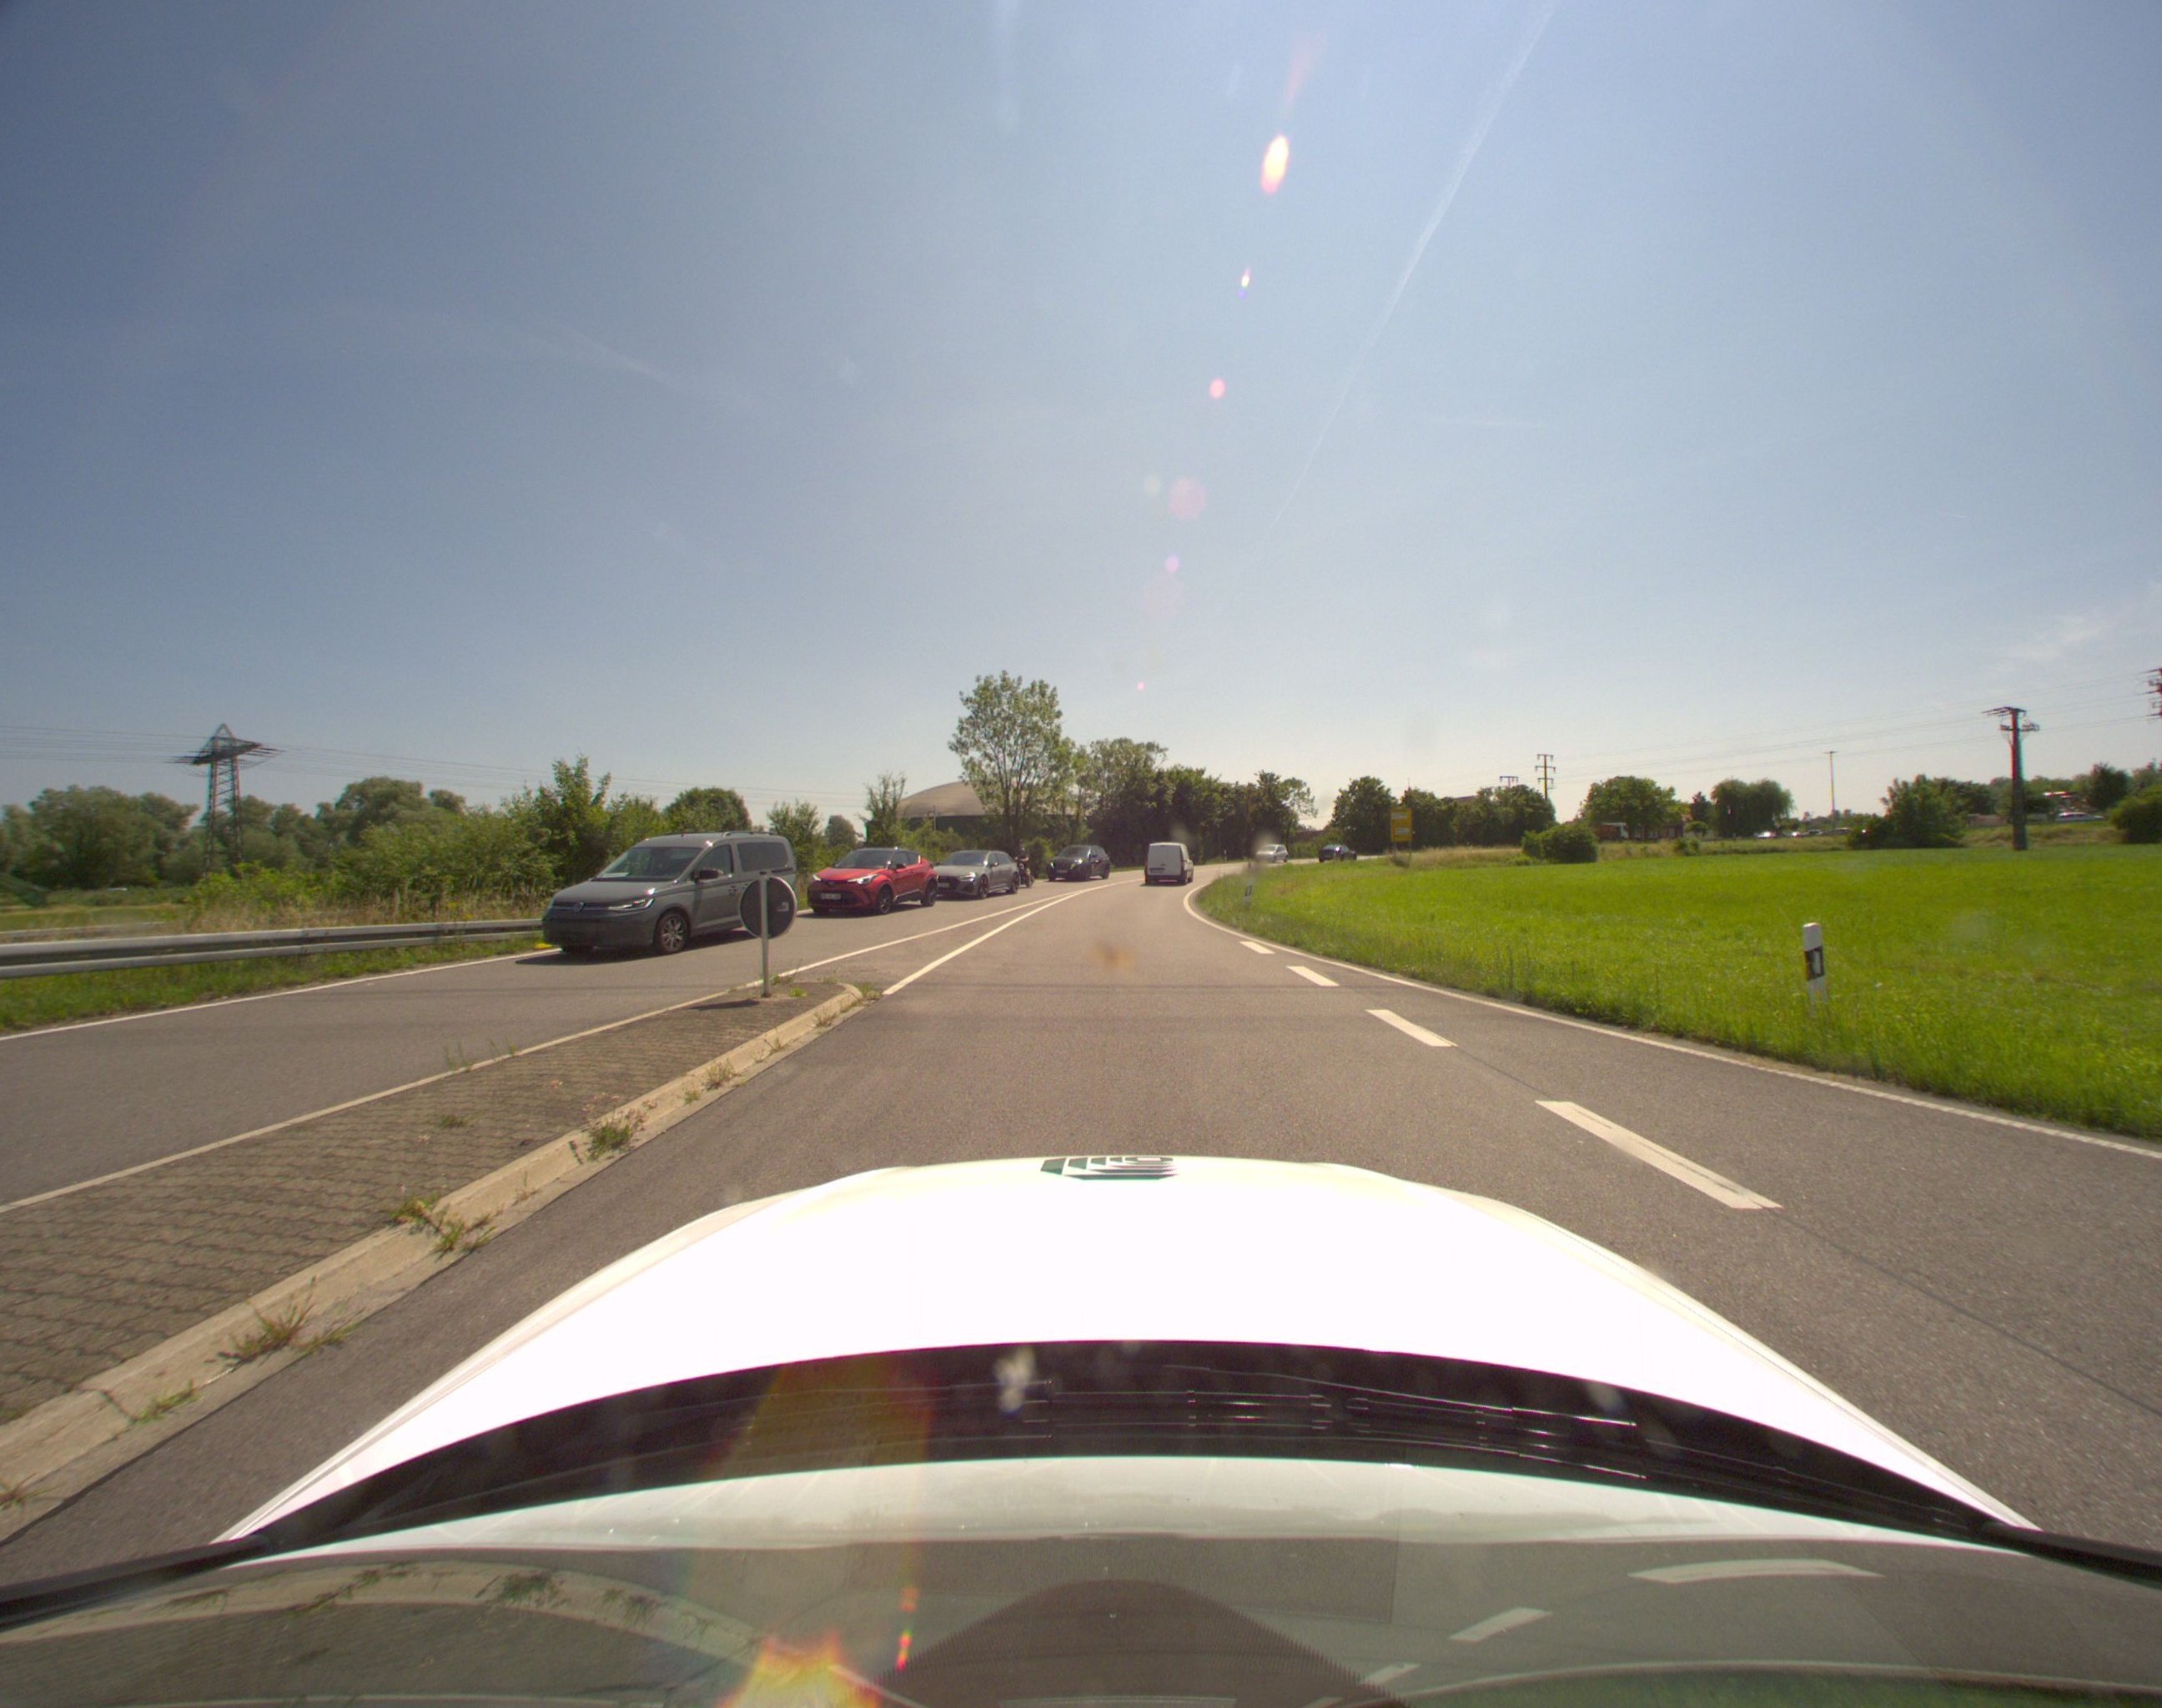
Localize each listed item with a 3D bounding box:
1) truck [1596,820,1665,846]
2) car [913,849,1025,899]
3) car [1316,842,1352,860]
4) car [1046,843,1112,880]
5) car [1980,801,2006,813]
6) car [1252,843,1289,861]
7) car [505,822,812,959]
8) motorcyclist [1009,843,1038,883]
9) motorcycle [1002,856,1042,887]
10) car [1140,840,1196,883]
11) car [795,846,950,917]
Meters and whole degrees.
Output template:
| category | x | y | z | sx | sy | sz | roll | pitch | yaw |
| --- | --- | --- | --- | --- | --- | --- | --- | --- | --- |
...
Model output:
| category | x | y | z | sx | sy | sz | roll | pitch | yaw |
| --- | --- | --- | --- | --- | --- | --- | --- | --- | --- |
| truck | 71.292 | -2.633 | 105.608 | 8.808 | 3.137 | 3.086 | 1 | 0 | -22 |
| car | -3.438 | 0.589 | 26.077 | 1.828 | 1.460 | 4.828 | 0 | 0 | 15 |
| car | 21.192 | -0.245 | 68.118 | 1.702 | 1.420 | 3.769 | -2 | -1 | 35 |
| car | -0.017 | 0.295 | 37.907 | 1.688 | 1.638 | 4.271 | 1 | 1 | 20 |
| car | 162.725 | -8.344 | 145.303 | 4.003 | 2.014 | 1.985 | 1 | 0 | -23 |
| car | 15.561 | -0.177 | 66.915 | 1.522 | 1.442 | 3.630 | 2 | 1 | 38 |
| car | -6.528 | 0.514 | 13.284 | 1.912 | 1.832 | 4.456 | -1 | -1 | 15 |
| motorcyclist | -2.198 | 0.346 | 31.435 | 0.775 | 1.495 | 1.135 | -1 | 0 | 14 |
| motorcycle | -2.244 | 0.634 | 31.355 | 0.776 | 1.123 | 2.439 | 1 | 0 | 15 |
| car | 3.861 | 0.309 | 35.710 | 1.890 | 1.732 | 3.836 | -1 | -1 | 13 |
| car | -5.015 | 0.581 | 20.282 | 1.786 | 1.515 | 4.410 | 1 | 1 | 15 |
